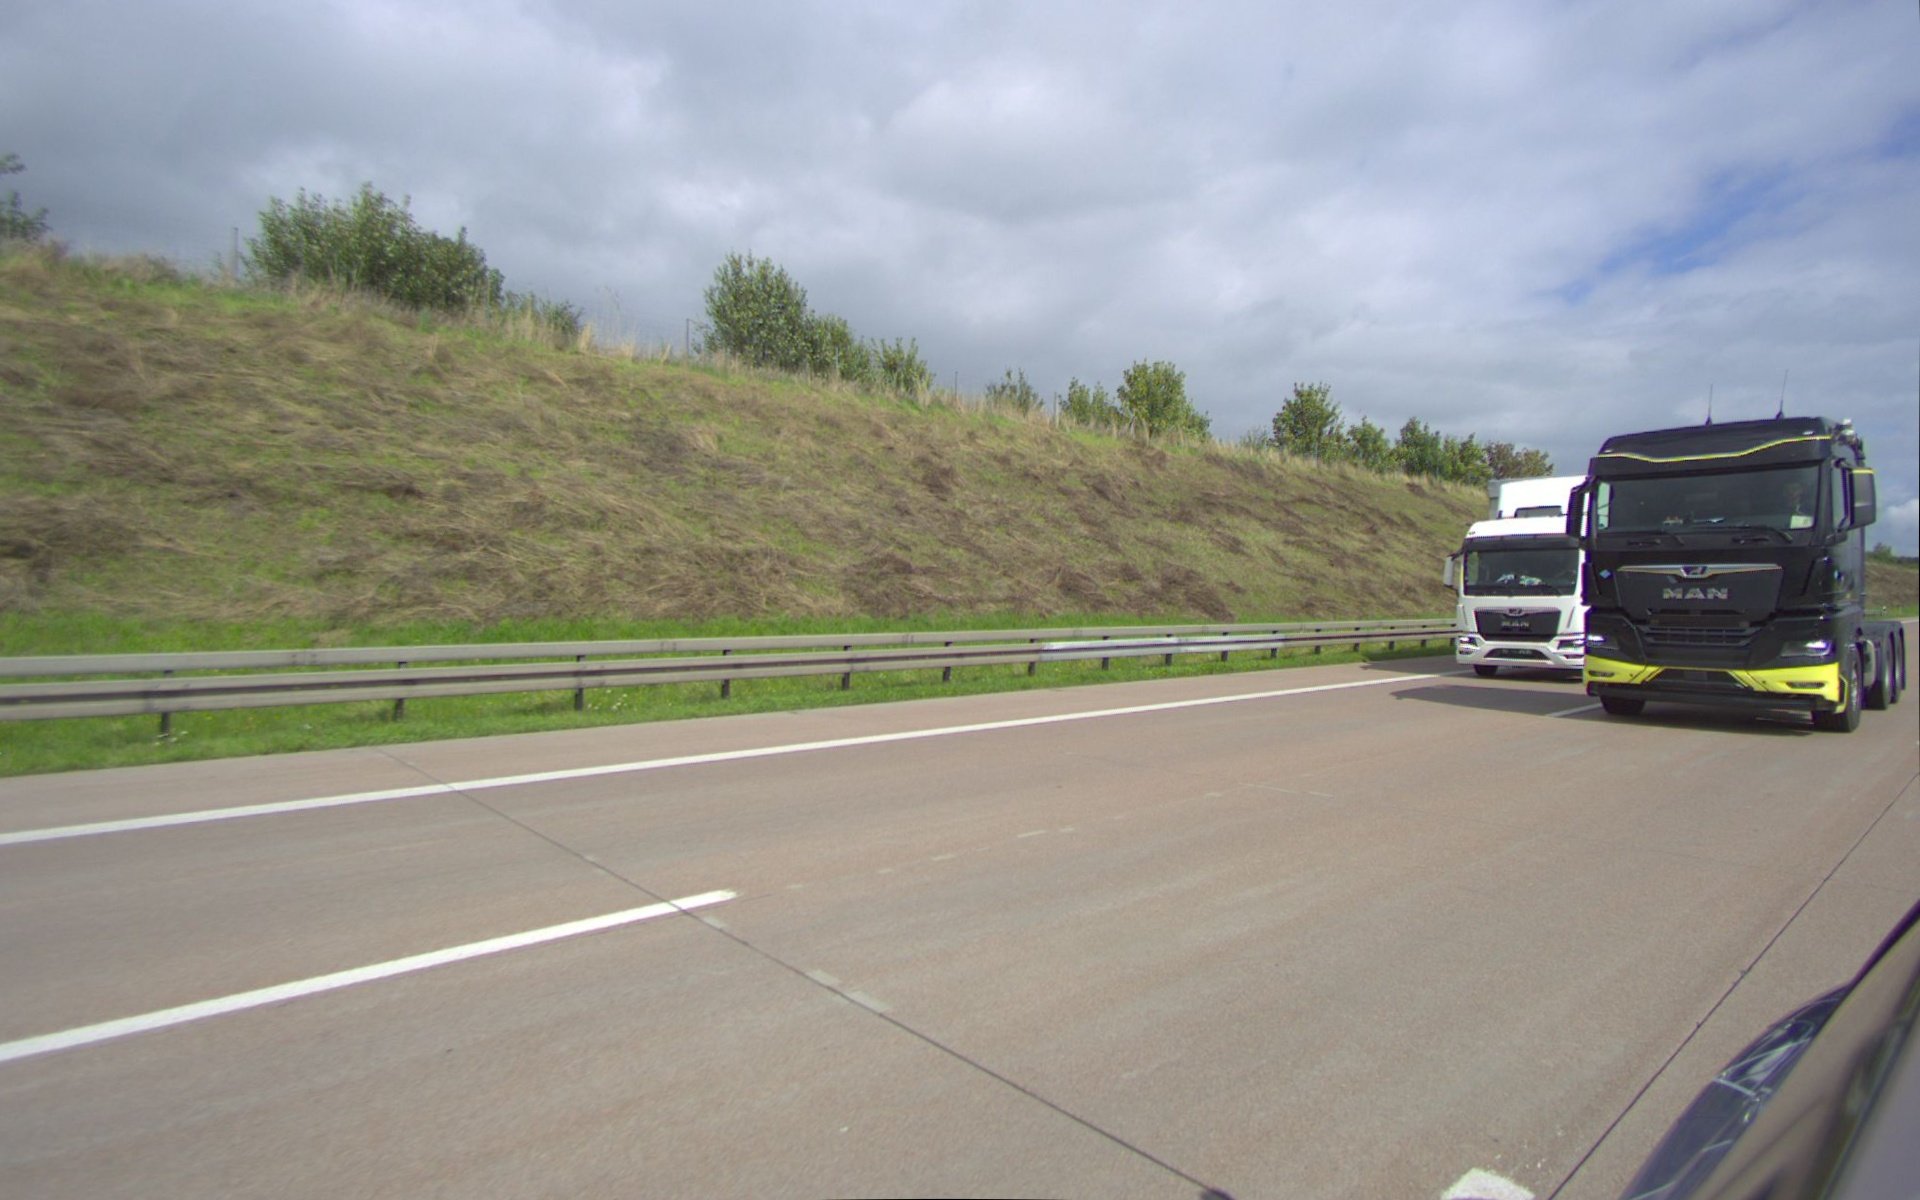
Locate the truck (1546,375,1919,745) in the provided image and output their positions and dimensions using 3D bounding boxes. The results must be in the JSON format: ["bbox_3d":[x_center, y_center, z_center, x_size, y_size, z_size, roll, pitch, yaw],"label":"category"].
[{"bbox_3d":[10.857,-0.426,13.699,8.180,3.594,2.850,-1,0,-43],"label":"truck"}]

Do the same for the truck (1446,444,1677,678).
[{"bbox_3d":[11.724,-0.676,19.622,4.470,3.941,2.751,0,0,-44],"label":"truck"}]

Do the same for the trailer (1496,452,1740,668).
[{"bbox_3d":[15.165,-0.790,22.951,8.526,4.063,2.750,-1,0,-44],"label":"trailer"}]
